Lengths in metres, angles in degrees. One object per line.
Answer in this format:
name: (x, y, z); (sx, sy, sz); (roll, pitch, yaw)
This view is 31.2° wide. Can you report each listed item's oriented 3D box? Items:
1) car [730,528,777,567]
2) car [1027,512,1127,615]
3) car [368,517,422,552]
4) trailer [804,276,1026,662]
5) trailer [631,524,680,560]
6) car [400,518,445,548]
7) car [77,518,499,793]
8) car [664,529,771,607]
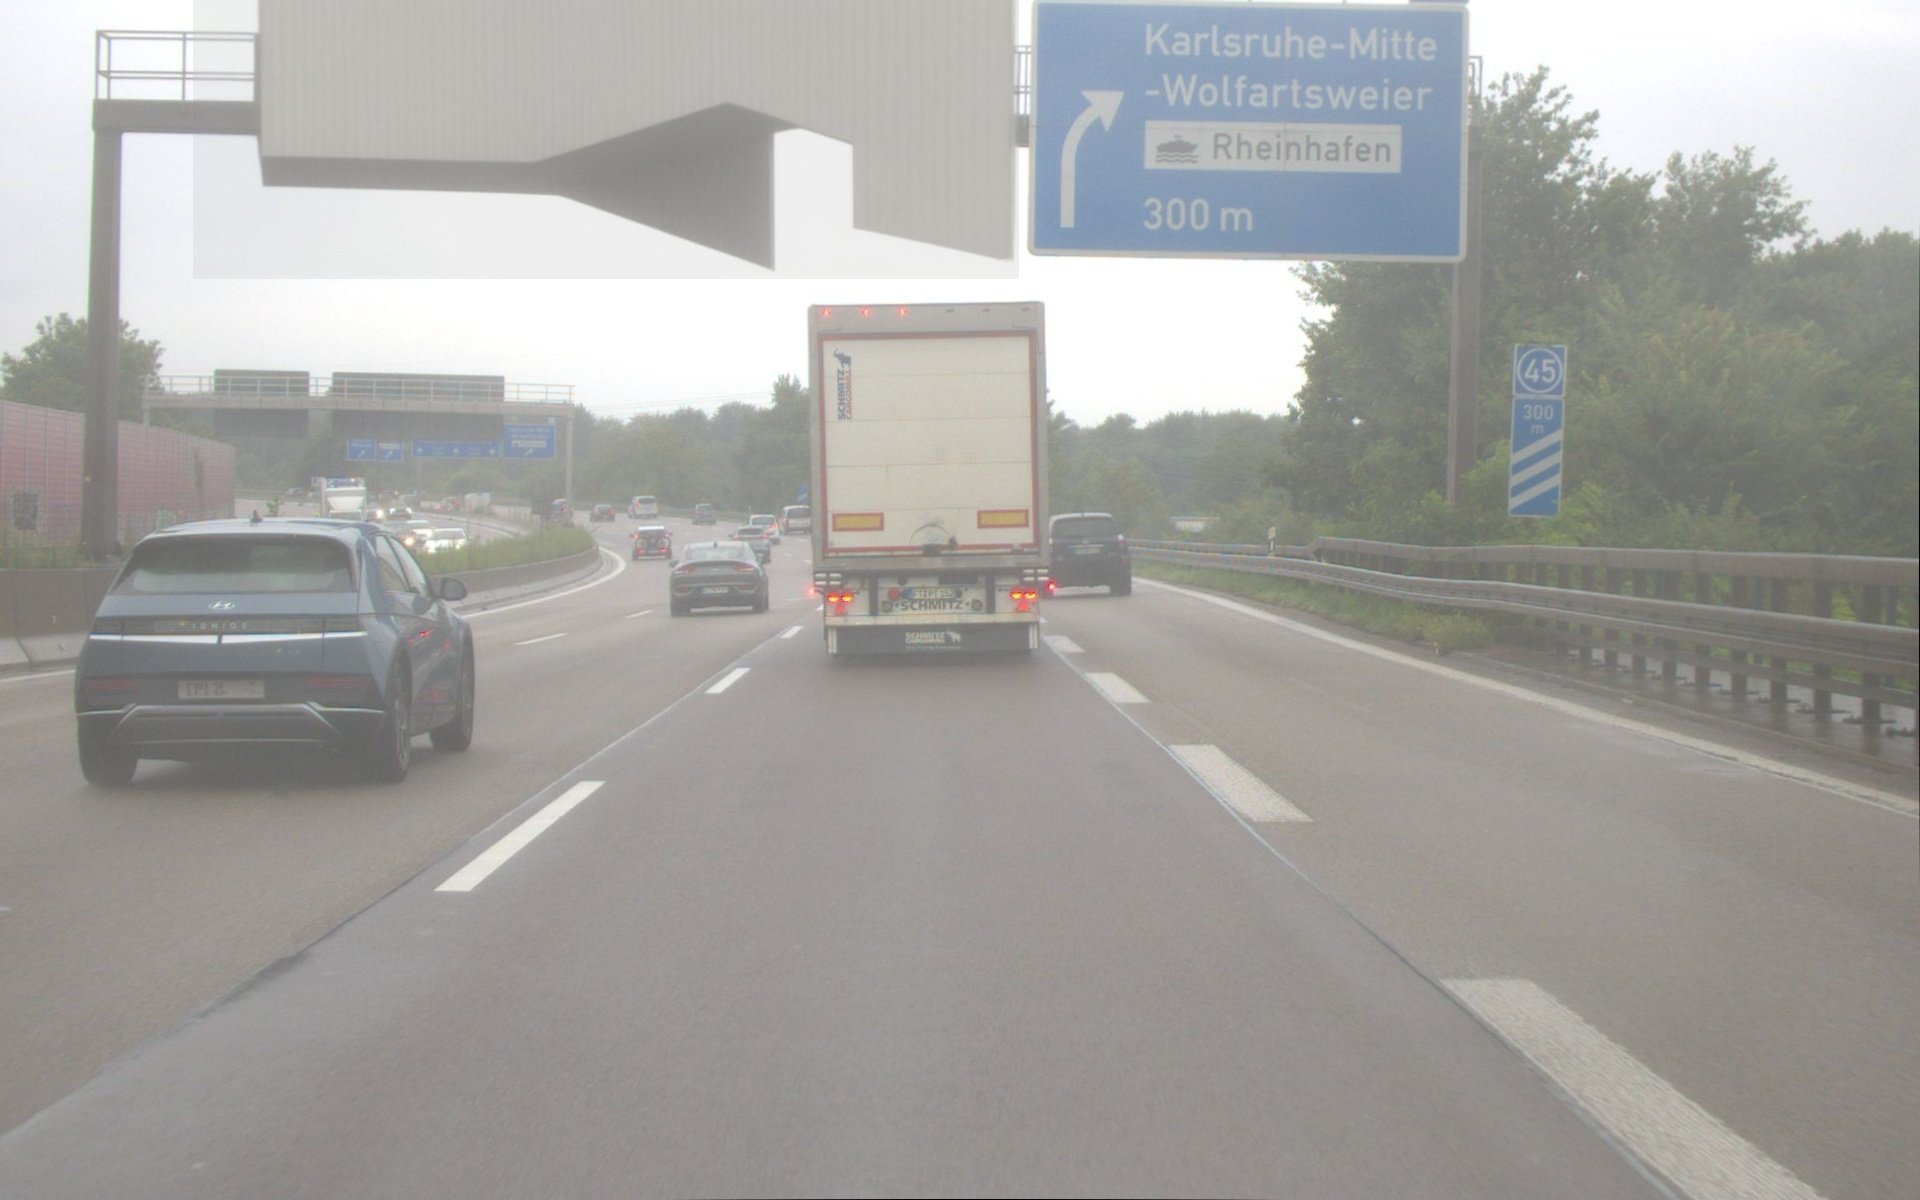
car: (-9.389, -2.409, 156.828); (1.894, 1.718, 4.000); (1, 1, 0)
car: (2.353, -0.752, 69.797); (1.897, 1.943, 4.000); (2, 1, 1)
car: (-27.419, -3.190, 167.004); (1.993, 1.565, 4.000); (3, 1, -2)
trailer: (-0.497, -1.640, 44.683); (2.342, 4.143, 14.828); (1, 2, 0)
trailer: (-14.305, -2.740, 161.692); (1.815, 1.619, 4.568); (2, 1, 0)
car: (-30.692, -3.830, 196.403); (1.993, 1.565, 4.000); (3, 1, -2)
car: (-4.274, 0.293, 22.673); (1.838, 1.589, 5.156); (1, 1, -1)
car: (-4.712, -0.635, 67.419); (1.725, 1.398, 4.829); (3, 1, 0)
